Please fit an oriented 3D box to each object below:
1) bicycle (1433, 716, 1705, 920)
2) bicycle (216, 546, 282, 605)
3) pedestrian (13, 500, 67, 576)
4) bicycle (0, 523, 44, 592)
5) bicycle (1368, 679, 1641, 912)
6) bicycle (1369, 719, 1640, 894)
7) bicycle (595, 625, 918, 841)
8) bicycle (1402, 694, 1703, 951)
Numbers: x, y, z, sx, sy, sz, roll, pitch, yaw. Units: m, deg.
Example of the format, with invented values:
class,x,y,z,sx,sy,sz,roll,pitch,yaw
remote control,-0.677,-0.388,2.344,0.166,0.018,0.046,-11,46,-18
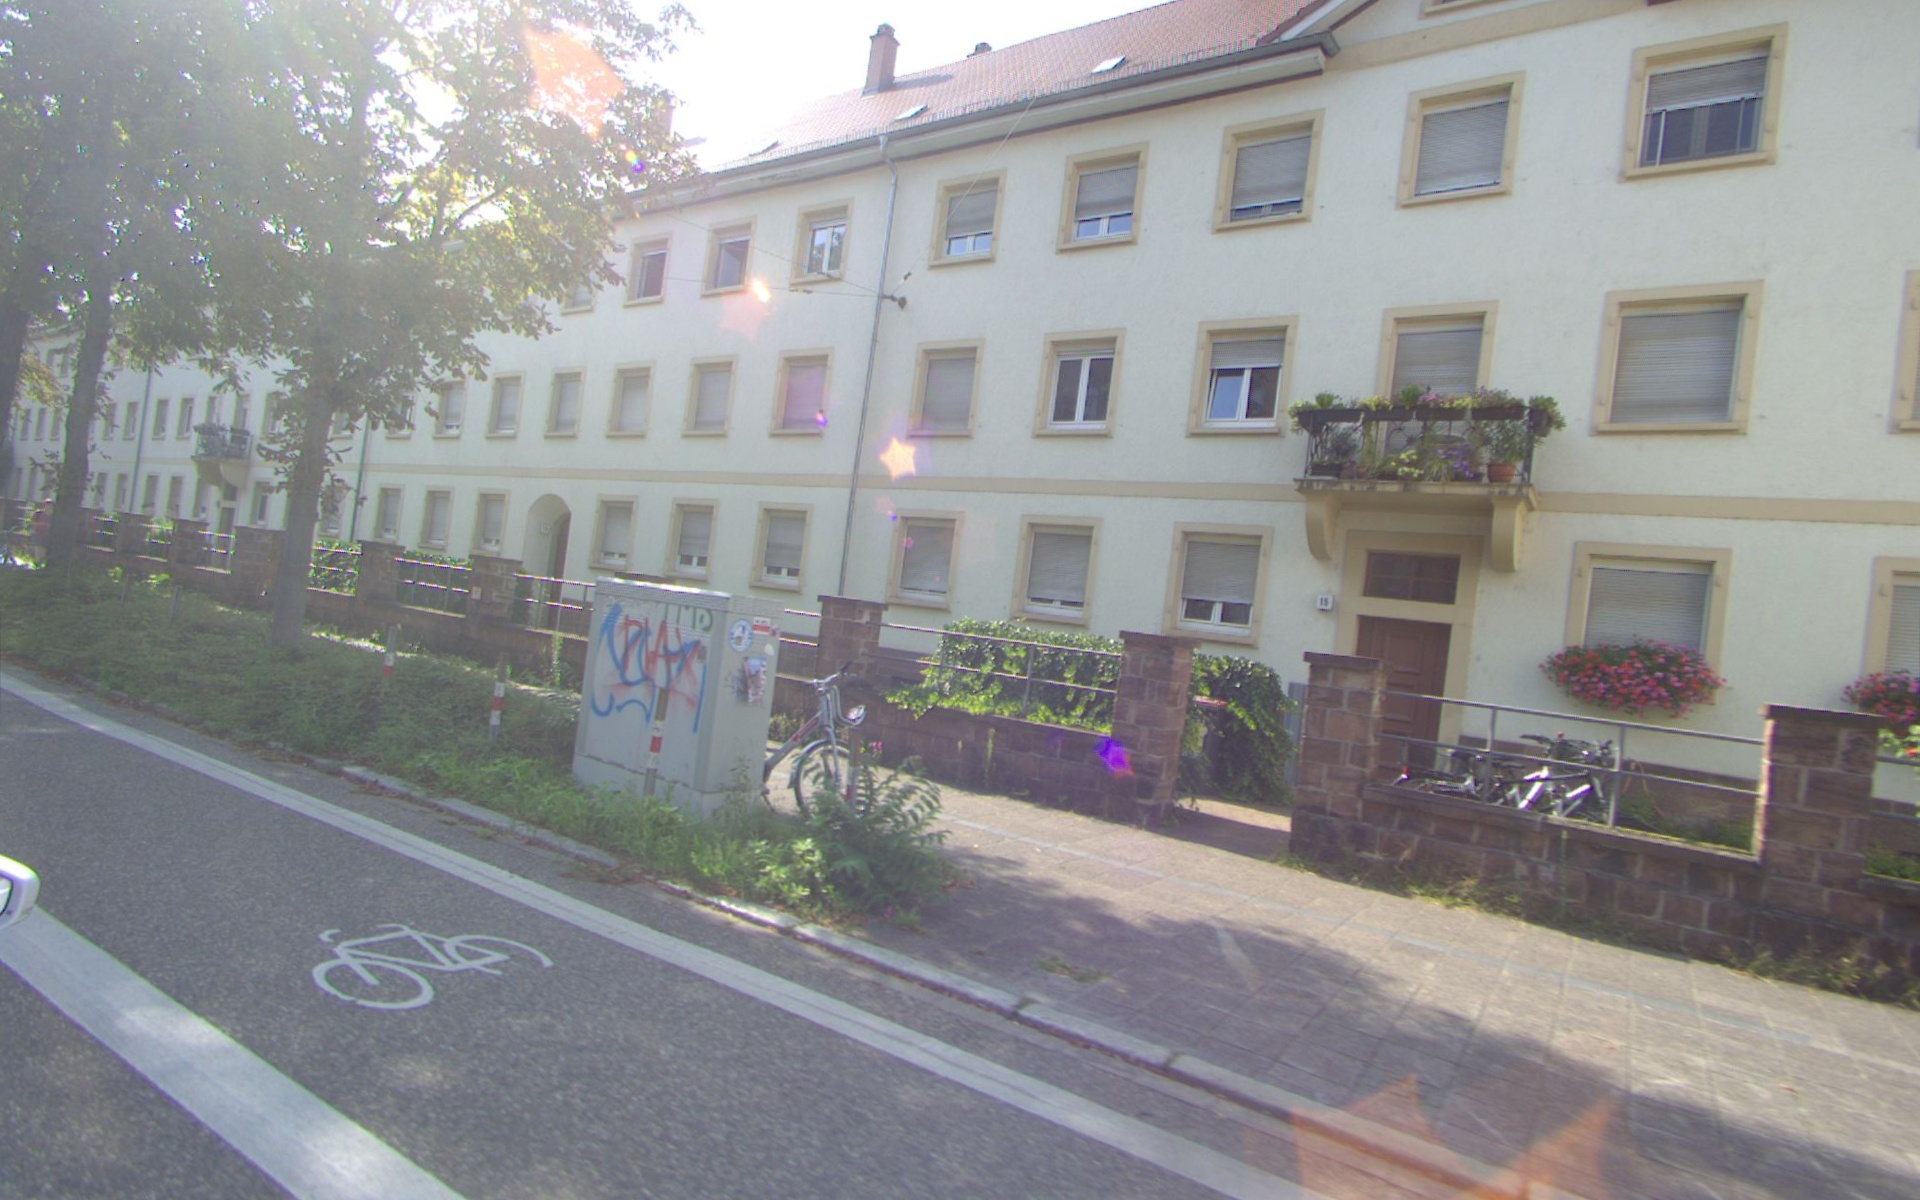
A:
class,x,y,z,sx,sy,sz,roll,pitch,yaw
bicycle,4.836,1.683,8.066,1.714,1.229,0.454,6,-3,40
bicycle,-15.313,-0.533,21.661,1.702,1.085,0.524,6,-2,36
pedestrian,-23.136,-1.553,25.296,0.866,1.769,0.752,6,-2,41
bicycle,-15.894,-0.734,16.415,0.517,1.085,1.725,8,-2,-13
bicycle,4.284,1.485,8.004,1.714,1.471,0.454,6,-3,40
bicycle,4.880,1.811,9.143,0.520,1.138,2.002,10,-3,-44
bicycle,-1.524,0.899,7.320,2.295,1.116,0.773,7,-2,33
bicycle,4.294,1.551,7.376,1.714,1.471,0.454,6,-3,40
